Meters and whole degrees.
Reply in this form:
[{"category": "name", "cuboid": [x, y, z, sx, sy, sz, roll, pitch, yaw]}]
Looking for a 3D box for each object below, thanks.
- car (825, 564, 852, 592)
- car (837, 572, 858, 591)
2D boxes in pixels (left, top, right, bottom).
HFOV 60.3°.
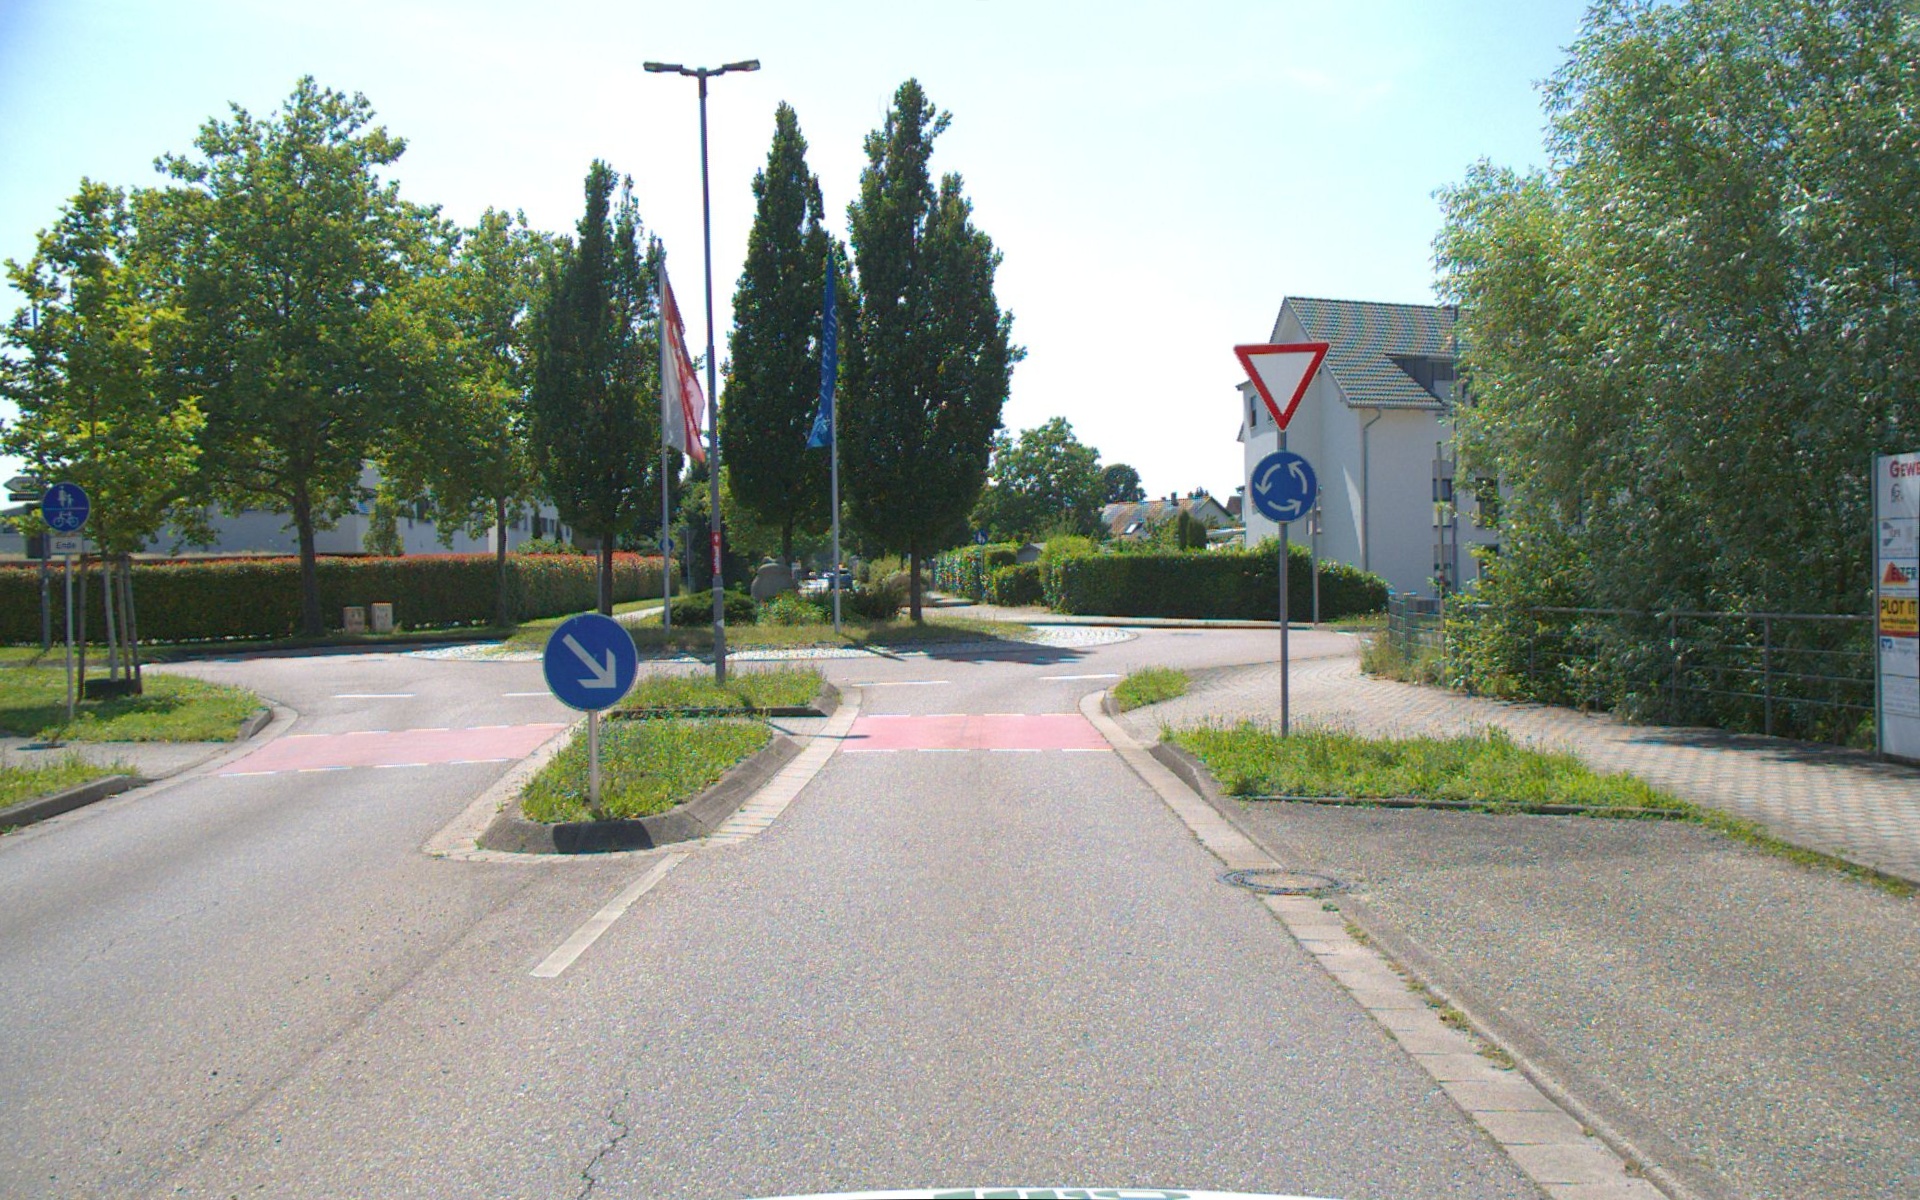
[{"category": "car", "cuboid": [-8.758, -1.565, 118.866, 1.885, 1.919, 3.996, 0, 0, -5]}, {"category": "car", "cuboid": [-10.738, -1.780, 158.500, 1.954, 1.801, 3.997, 0, 0, -4]}]
